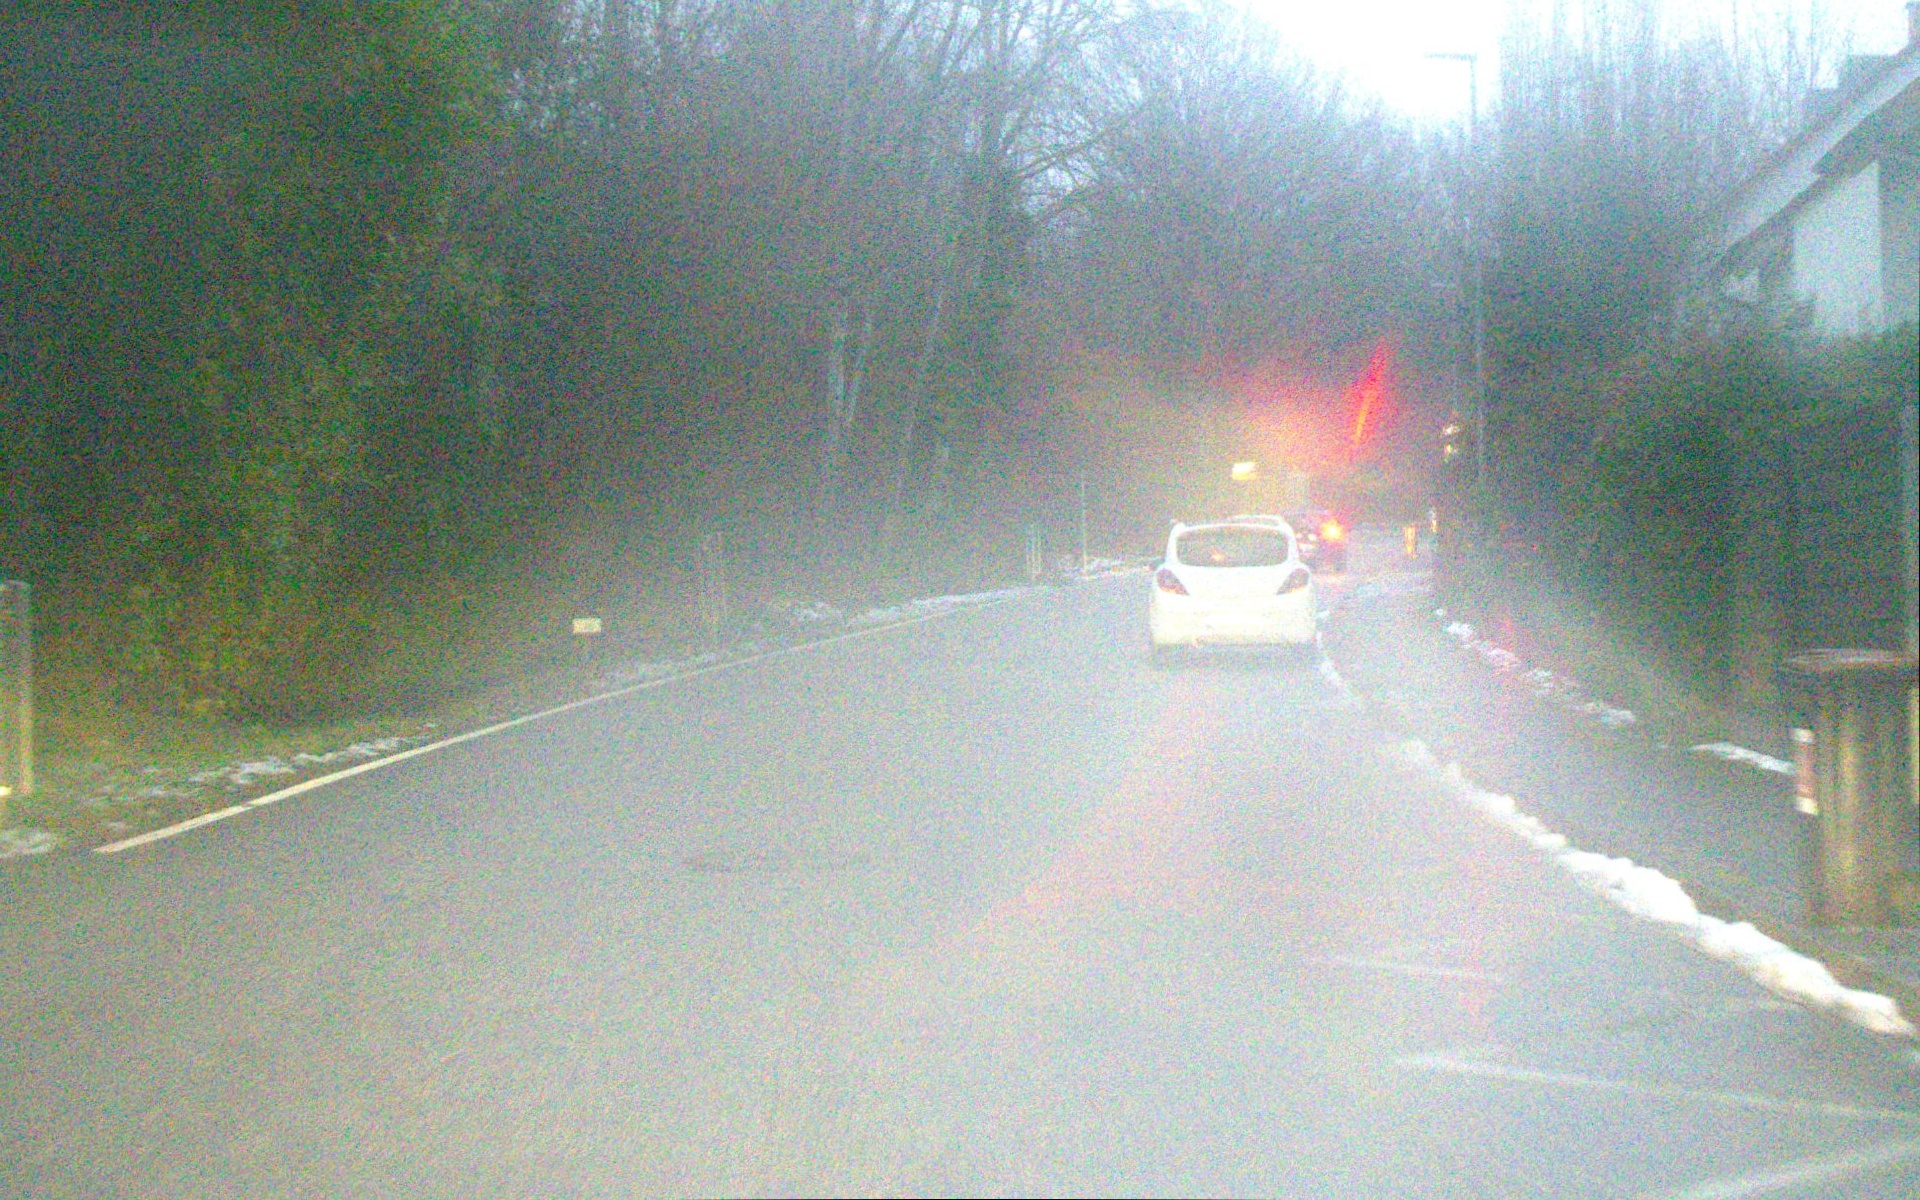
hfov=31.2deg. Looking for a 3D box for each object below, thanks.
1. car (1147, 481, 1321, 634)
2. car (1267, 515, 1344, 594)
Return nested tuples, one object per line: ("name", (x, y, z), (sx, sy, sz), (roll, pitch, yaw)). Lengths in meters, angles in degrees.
("car", (2.813, -0.455, 35.713), (1.704, 1.501, 4.024), (0, 1, 4))
("car", (8.269, -1.106, 82.008), (1.690, 1.768, 3.860), (-1, 2, 7))
